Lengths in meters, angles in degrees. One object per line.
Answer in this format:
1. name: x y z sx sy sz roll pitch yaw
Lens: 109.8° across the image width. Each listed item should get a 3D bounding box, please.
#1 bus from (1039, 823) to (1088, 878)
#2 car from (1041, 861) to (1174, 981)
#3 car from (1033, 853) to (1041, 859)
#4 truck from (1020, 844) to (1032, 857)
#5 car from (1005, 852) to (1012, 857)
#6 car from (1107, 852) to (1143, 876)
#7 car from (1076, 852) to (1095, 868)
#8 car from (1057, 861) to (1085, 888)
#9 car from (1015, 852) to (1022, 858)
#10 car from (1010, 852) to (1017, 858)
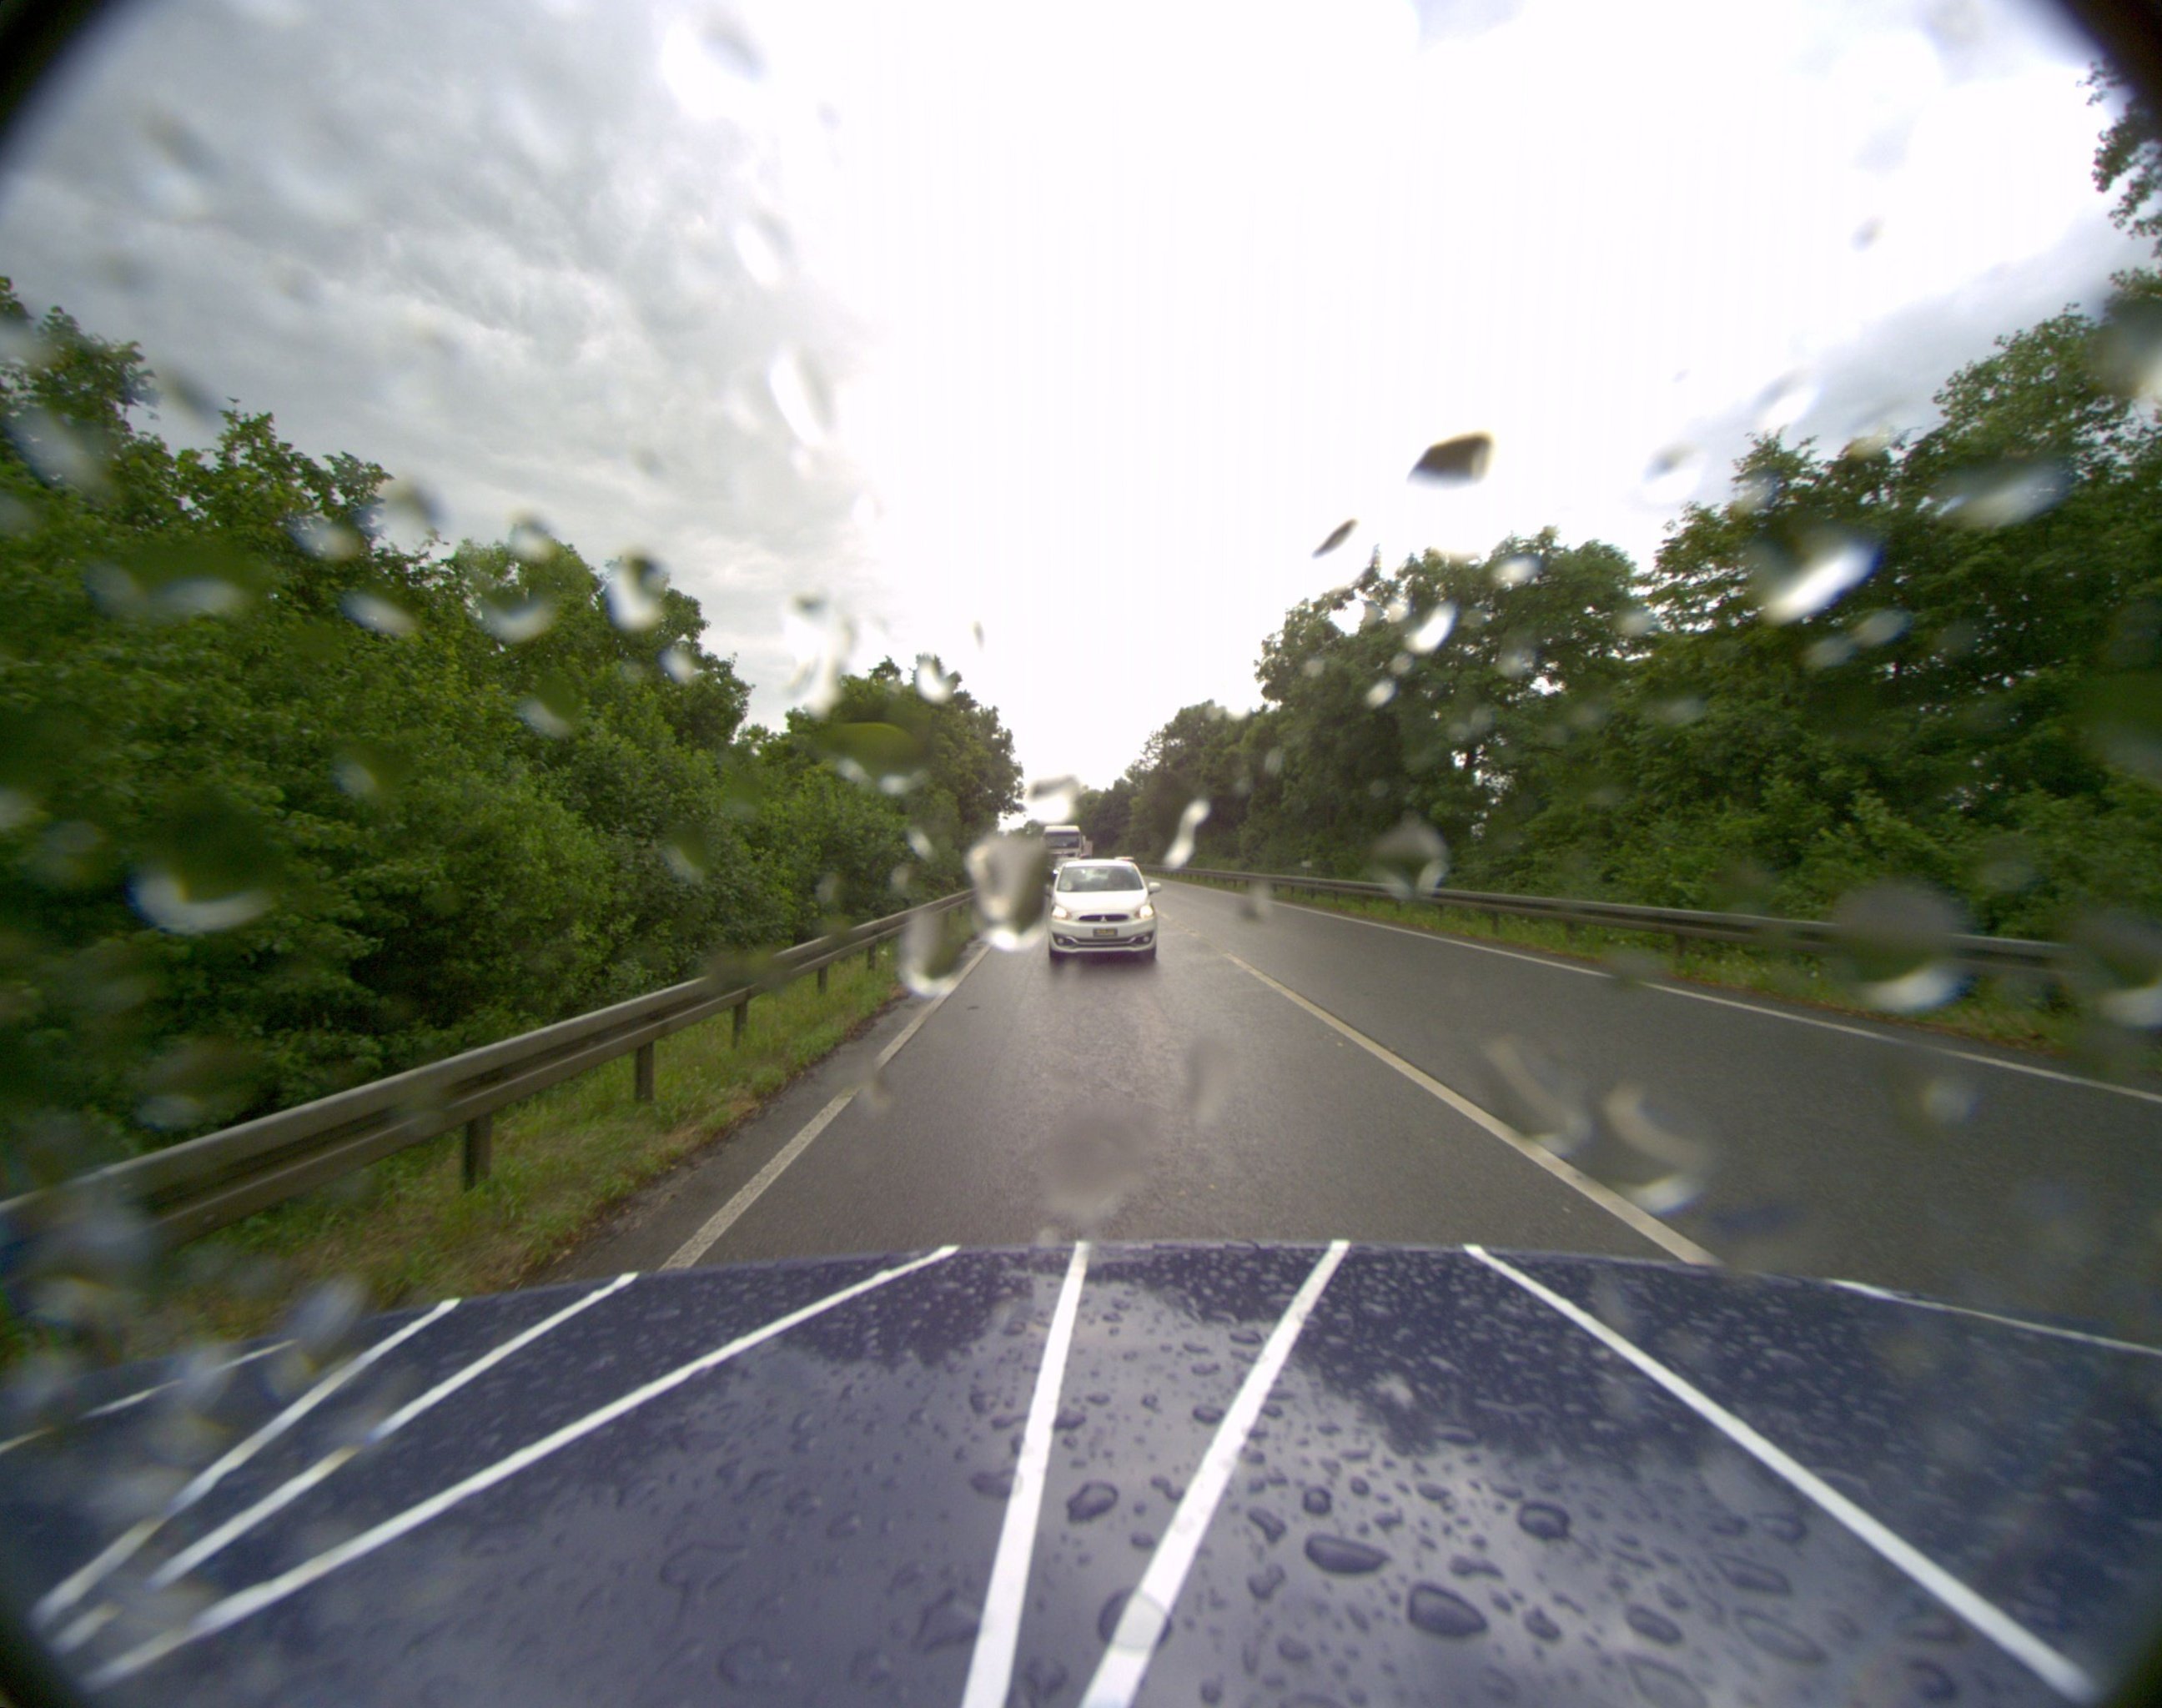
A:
1. bus: -1.447 -0.223 55.286 3.064 3.405 13.636 -1 0 -3
2. car: 0.246 0.887 11.911 1.701 1.471 4.062 -1 0 -3
3. car: -8.348 0.379 144.091 1.146 1.123 2.549 -2 0 -13
4. truck: -11.780 -0.712 162.424 1.481 2.860 5.679 -2 0 -13
5. car: -19.467 0.156 204.402 1.535 1.459 3.072 -2 0 -8
6. car: 2.894 0.637 50.550 1.820 1.445 4.045 -1 0 -5
7. car: 0.486 0.662 81.516 1.801 1.650 4.081 -1 0 -3
8. car: -0.579 1.109 41.804 1.476 1.410 3.428 -1 -1 -2
9. car: -14.325 0.235 174.372 1.535 1.459 3.072 -2 0 -8
10. car: -16.926 0.176 191.488 1.535 1.459 3.072 -2 0 -9
